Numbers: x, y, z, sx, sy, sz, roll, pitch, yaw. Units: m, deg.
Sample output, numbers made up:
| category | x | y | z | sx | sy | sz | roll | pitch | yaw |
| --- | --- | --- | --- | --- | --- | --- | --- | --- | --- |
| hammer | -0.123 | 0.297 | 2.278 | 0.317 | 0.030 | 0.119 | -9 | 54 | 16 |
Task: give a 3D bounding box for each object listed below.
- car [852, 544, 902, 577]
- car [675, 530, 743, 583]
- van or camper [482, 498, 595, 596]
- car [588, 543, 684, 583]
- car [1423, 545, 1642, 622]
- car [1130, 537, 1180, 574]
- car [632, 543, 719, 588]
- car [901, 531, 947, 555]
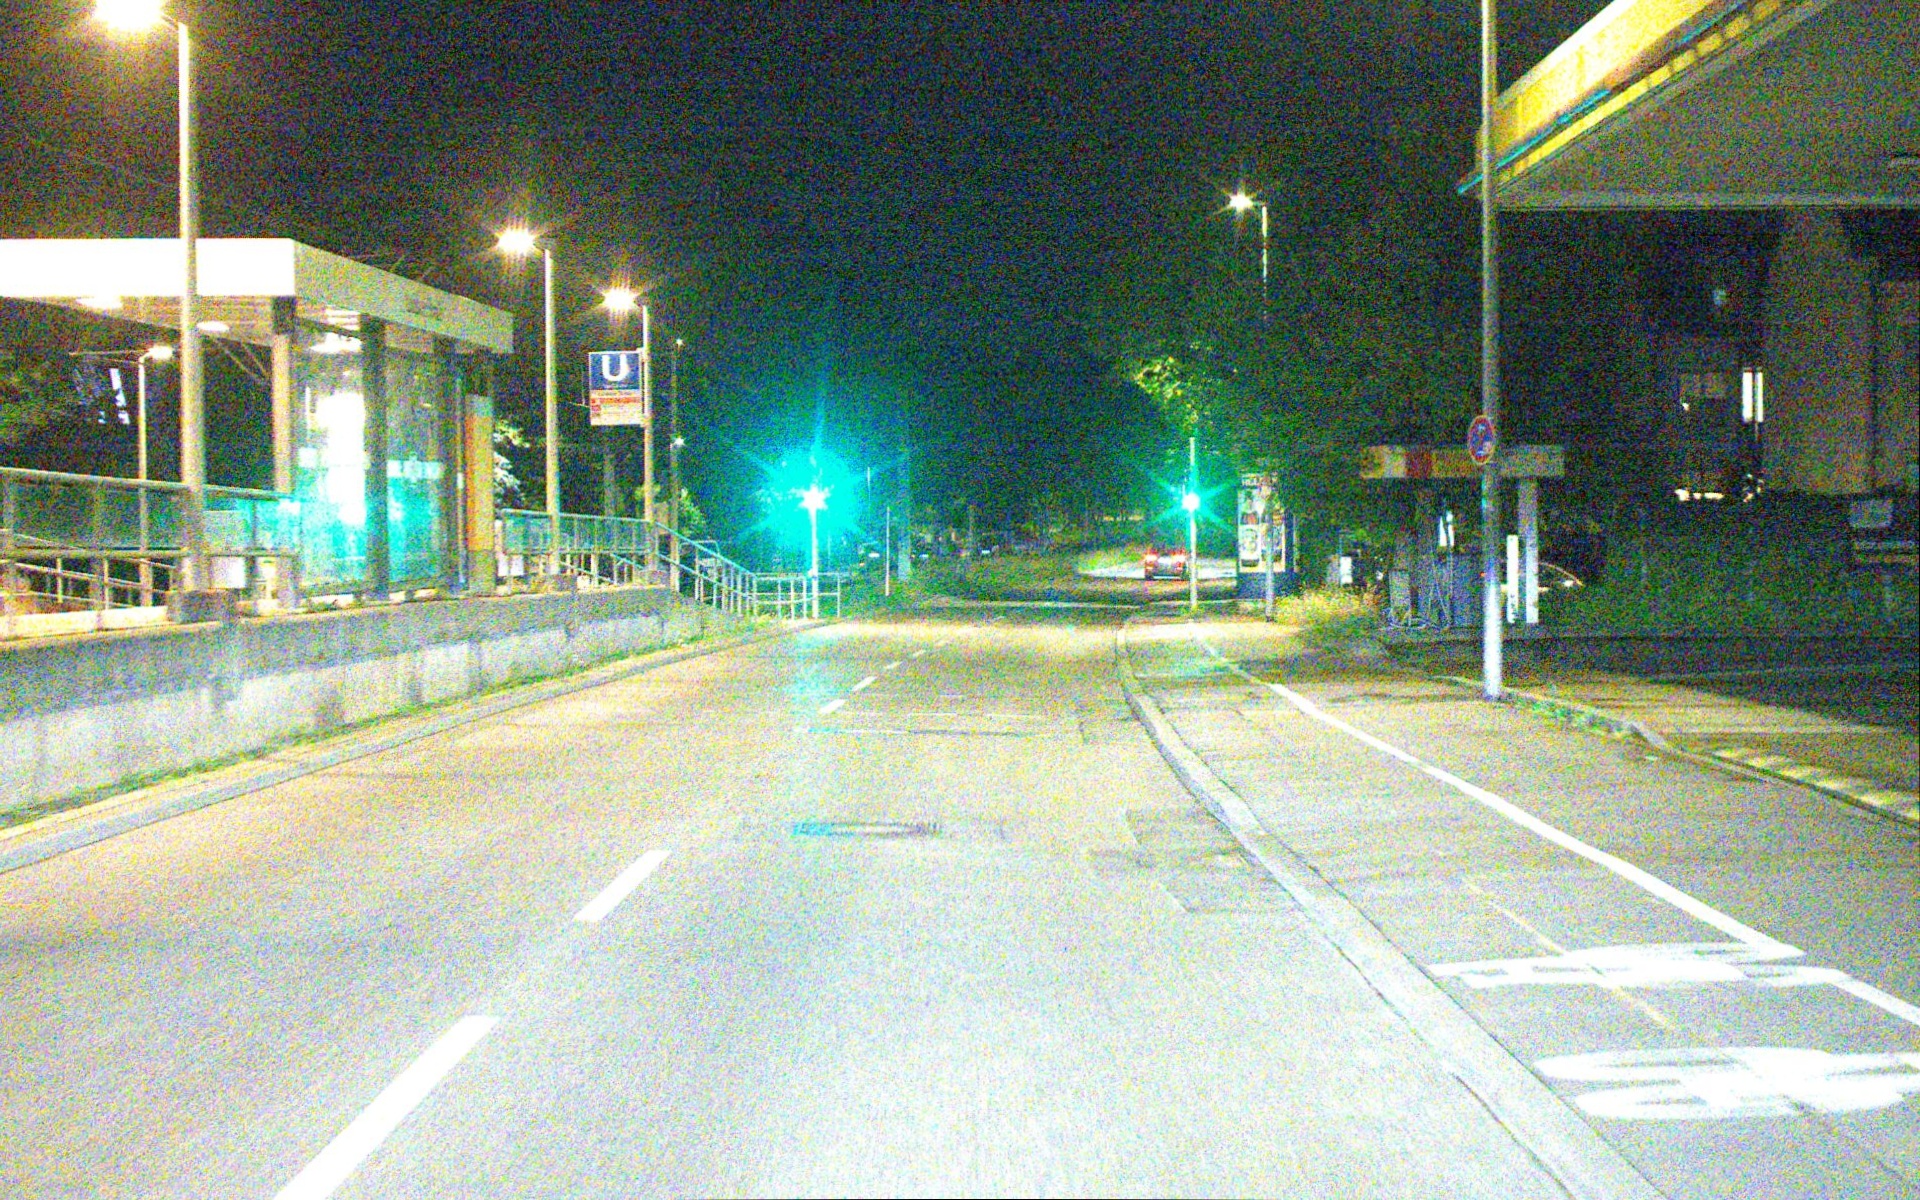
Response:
| category | x | y | z | sx | sy | sz | roll | pitch | yaw |
| --- | --- | --- | --- | --- | --- | --- | --- | --- | --- |
| car | -4.166 | -1.992 | 173.580 | 1.994 | 1.622 | 4.676 | 0 | 1 | 6 |
| car | -9.139 | -1.608 | 125.635 | 1.857 | 1.897 | 4.879 | 0 | 1 | 3 |
| van or camper | -12.069 | -1.536 | 98.726 | 2.272 | 2.638 | 5.664 | -2 | 1 | 2 |
| car | -10.749 | -1.243 | 114.161 | 3.028 | 1.321 | 1.534 | 0 | 1 | 2 |
| car | 10.389 | -0.305 | 62.577 | 3.764 | 1.349 | 1.859 | 0 | 1 | 4 |
| car | 8.488 | -1.938 | 149.847 | 2.162 | 1.577 | 4.013 | 1 | 1 | 3 |
| car | -9.862 | -1.224 | 119.602 | 1.902 | 1.517 | 5.170 | 0 | 1 | 9 |
| car | -2.025 | -3.205 | 193.434 | 1.994 | 1.333 | 5.431 | 0 | 1 | 6 |
